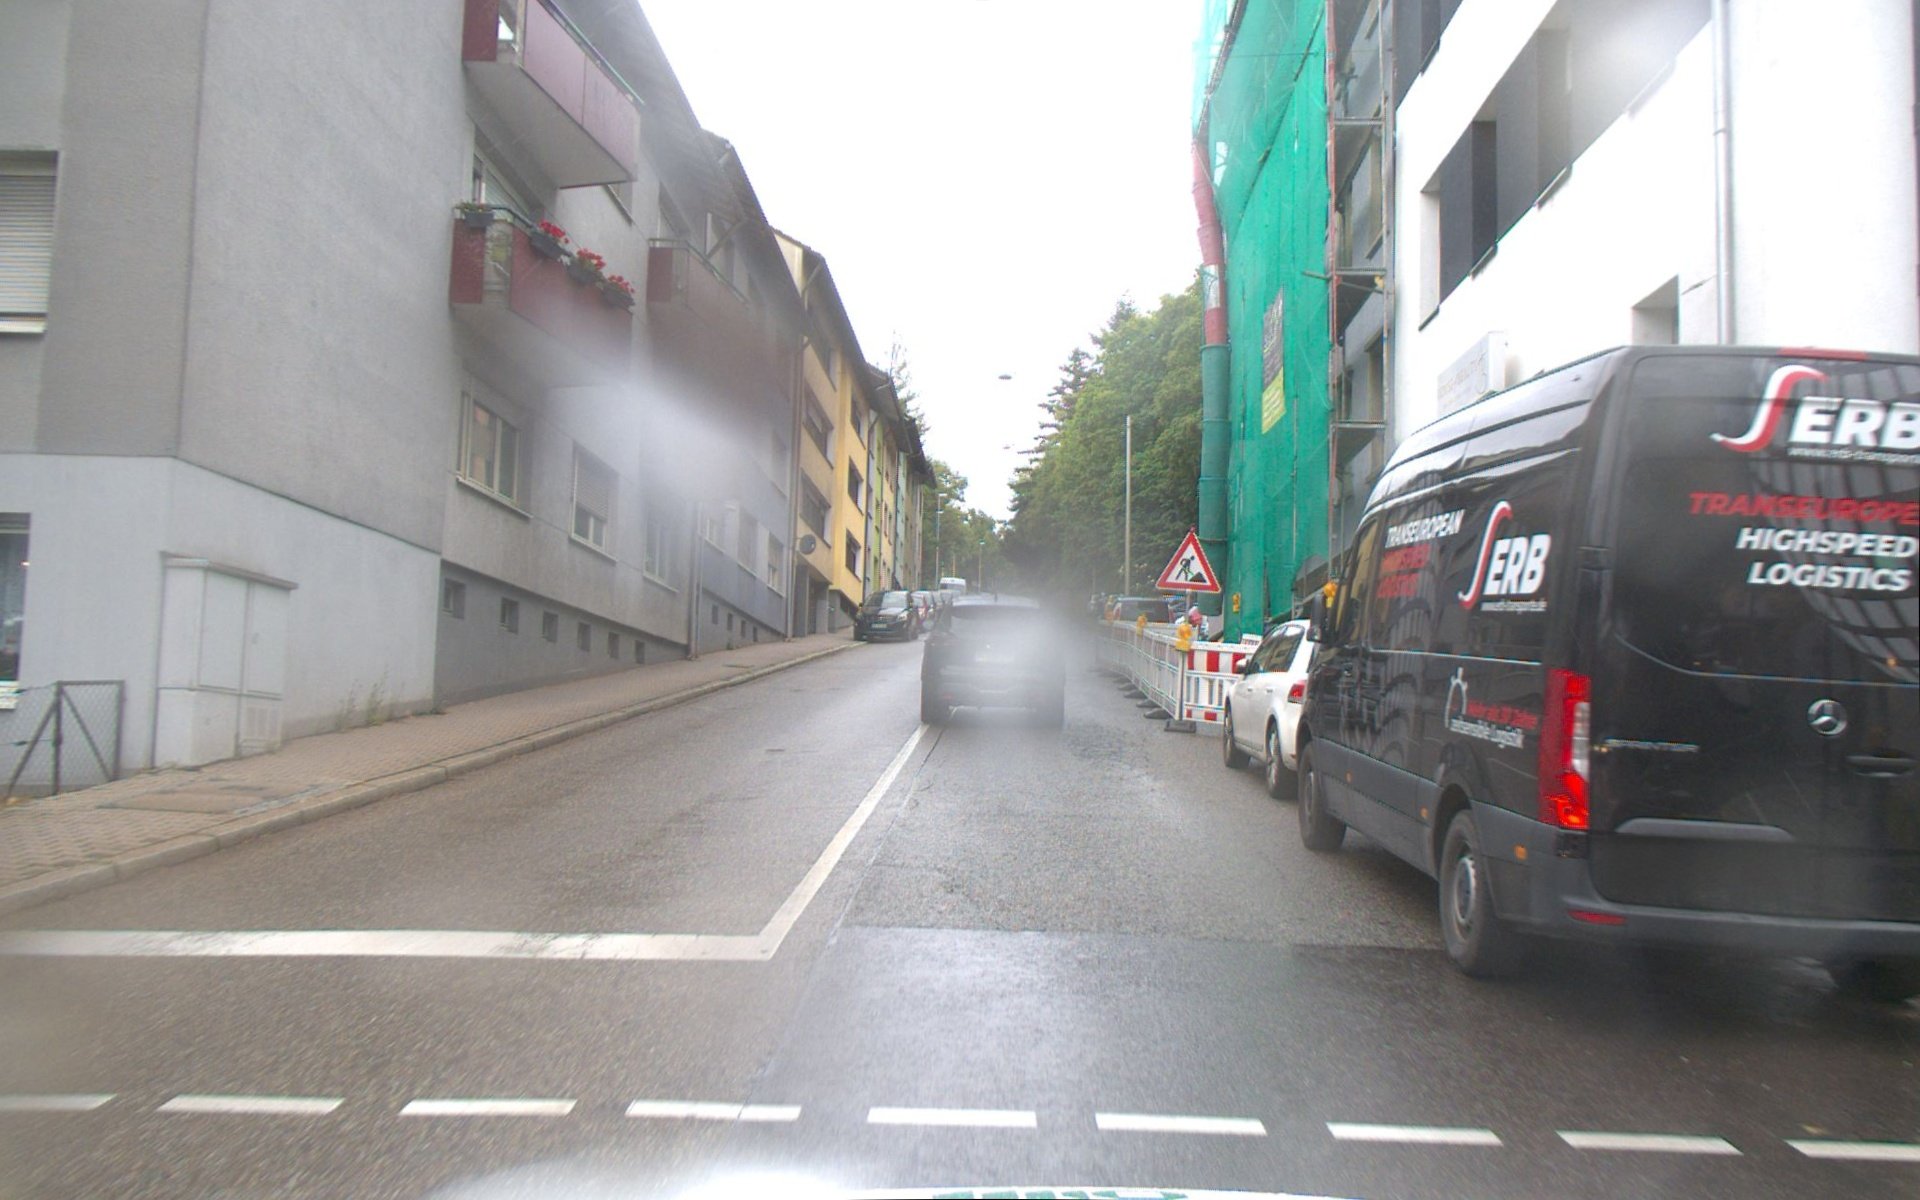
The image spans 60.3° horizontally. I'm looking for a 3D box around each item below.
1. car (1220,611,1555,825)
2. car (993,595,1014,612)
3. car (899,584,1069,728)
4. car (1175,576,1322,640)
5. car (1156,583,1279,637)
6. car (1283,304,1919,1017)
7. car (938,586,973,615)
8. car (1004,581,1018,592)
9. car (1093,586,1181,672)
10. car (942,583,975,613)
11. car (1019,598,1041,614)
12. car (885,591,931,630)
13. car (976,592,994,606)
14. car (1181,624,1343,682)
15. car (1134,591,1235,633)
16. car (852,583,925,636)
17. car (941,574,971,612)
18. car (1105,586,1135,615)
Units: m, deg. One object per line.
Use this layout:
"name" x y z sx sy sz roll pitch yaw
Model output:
"car" 3.639 0.922 14.934 1.952 1.538 4.338 3 0 2
"car" 4.447 0.368 168.316 2.032 1.586 4.000 2 1 0
"car" 0.345 0.649 21.657 1.952 1.586 4.001 3 1 2
"car" 9.180 0.245 52.898 4.254 1.556 1.877 -6 0 0
"car" 8.941 0.326 57.566 3.883 1.556 1.692 -4 0 -2
"car" 3.215 0.303 8.738 1.952 2.456 5.837 3 -2 2
"car" -0.235 0.034 97.069 1.949 1.613 4.305 1 1 1
"car" 7.939 -2.087 255.786 1.952 1.587 4.001 0 -1 4
"car" 4.117 0.624 38.950 1.606 1.793 4.001 3 1 0
"car" -0.074 -0.121 103.609 1.949 1.786 4.480 1 1 1
"car" 7.413 0.606 175.402 2.032 1.586 3.999 2 1 -1
"car" -2.071 0.411 66.842 1.693 1.498 3.491 1 1 1
"car" 2.943 -0.120 196.714 2.032 1.586 4.000 2 1 1
"car" 8.427 1.473 46.385 4.180 1.492 1.894 1 1 0
"car" 9.796 0.507 72.360 4.113 1.522 1.760 4 0 -1
"car" -2.390 0.283 56.436 1.952 1.678 4.444 1 1 4
"car" -0.239 -0.507 111.866 1.949 2.518 5.785 1 1 1
"car" 9.249 0.016 95.812 1.599 1.556 4.002 2 1 4
